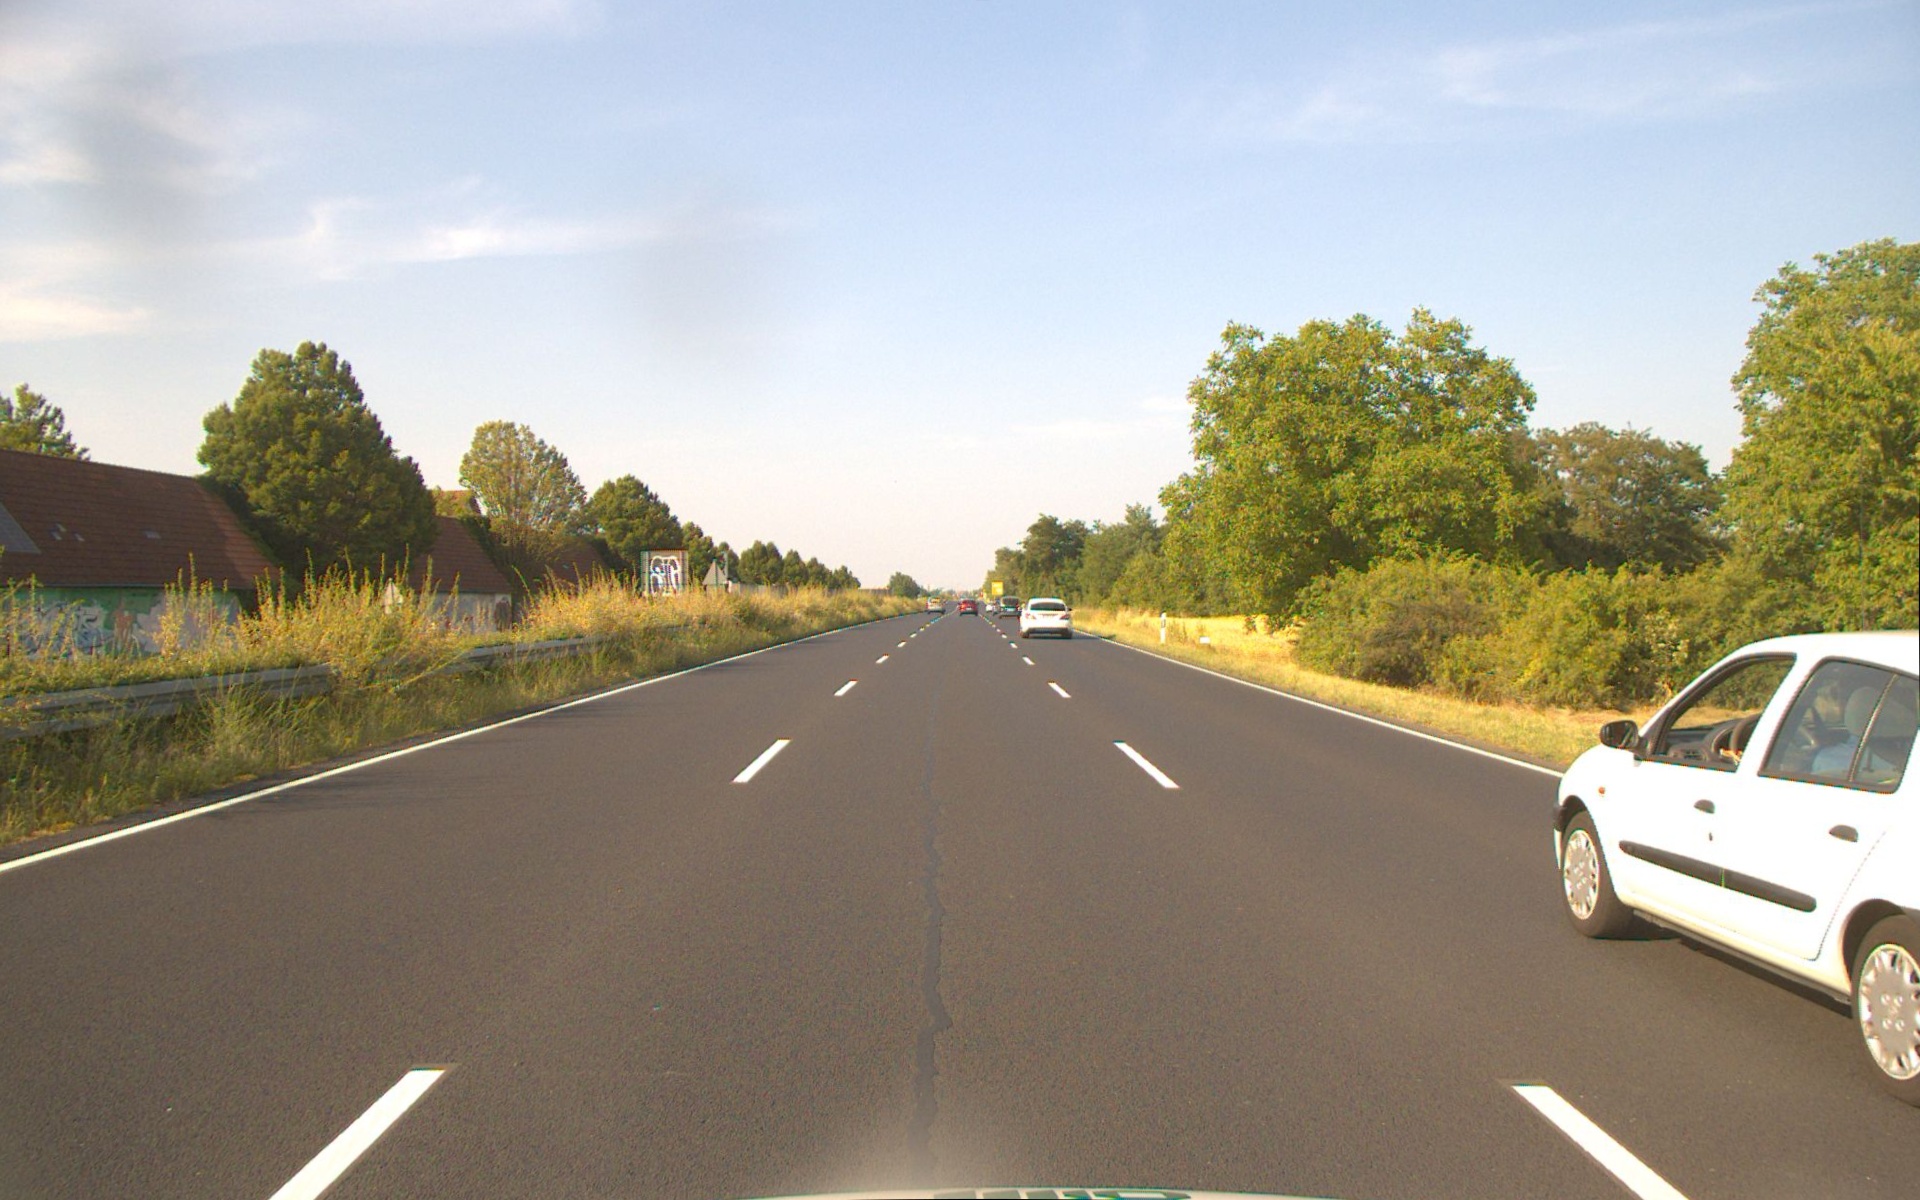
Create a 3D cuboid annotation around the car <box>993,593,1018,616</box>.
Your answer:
[{"bbox_3d":[3.450,0.364,127.017,1.790,1.758,3.999,1,-1,0],"label":"car"}]

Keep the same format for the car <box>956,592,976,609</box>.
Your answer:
[{"bbox_3d":[0.517,0.067,154.001,1.775,1.461,3.857,1,-1,-1],"label":"car"}]

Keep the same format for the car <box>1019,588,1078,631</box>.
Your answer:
[{"bbox_3d":[3.238,0.357,61.087,1.953,1.543,4.000,1,-1,0],"label":"car"}]

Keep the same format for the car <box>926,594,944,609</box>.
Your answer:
[{"bbox_3d":[-2.804,0.201,185.997,1.722,1.646,4.001,0,-1,2],"label":"car"}]

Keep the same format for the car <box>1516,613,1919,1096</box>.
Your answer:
[{"bbox_3d":[3.592,0.766,6.319,1.584,1.411,3.951,1,-1,-1],"label":"car"}]
